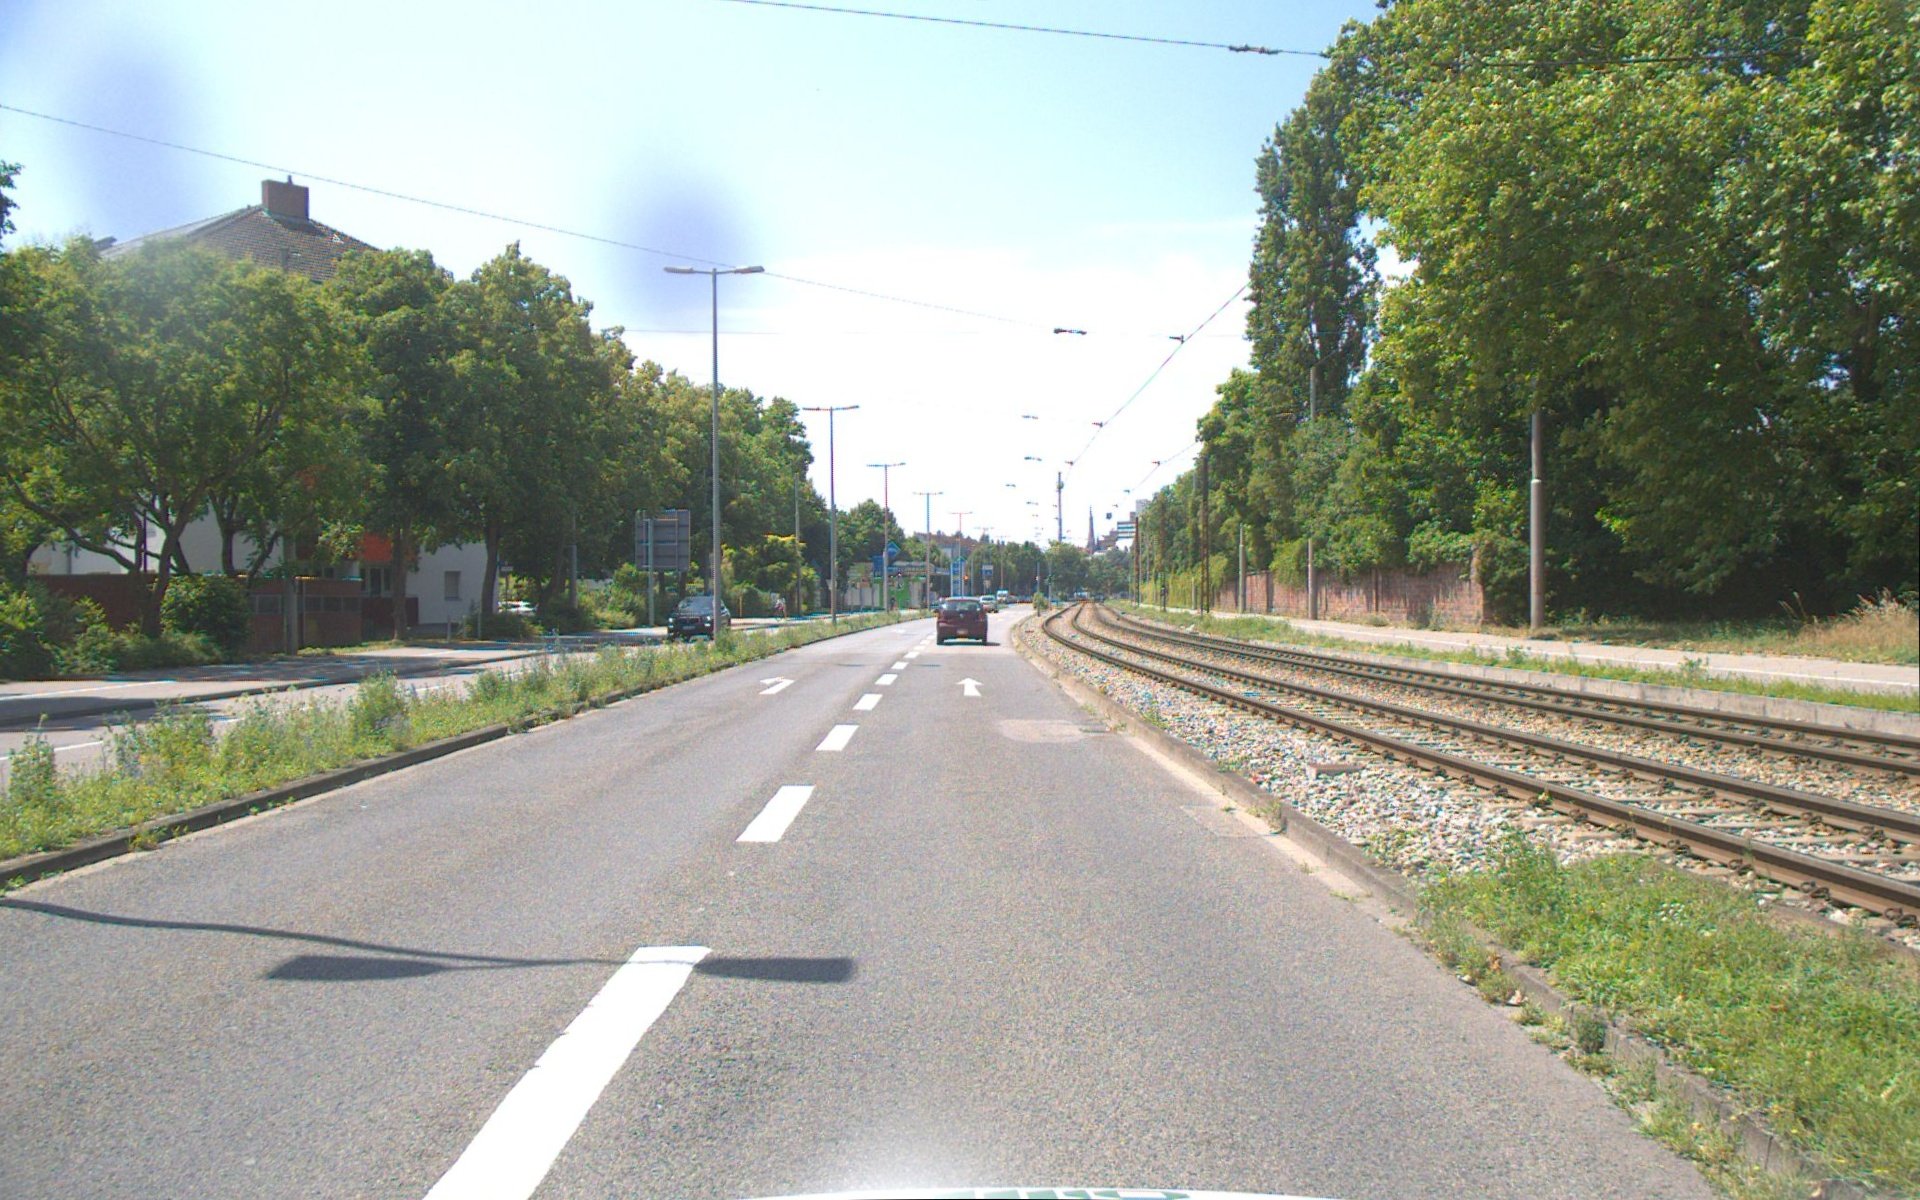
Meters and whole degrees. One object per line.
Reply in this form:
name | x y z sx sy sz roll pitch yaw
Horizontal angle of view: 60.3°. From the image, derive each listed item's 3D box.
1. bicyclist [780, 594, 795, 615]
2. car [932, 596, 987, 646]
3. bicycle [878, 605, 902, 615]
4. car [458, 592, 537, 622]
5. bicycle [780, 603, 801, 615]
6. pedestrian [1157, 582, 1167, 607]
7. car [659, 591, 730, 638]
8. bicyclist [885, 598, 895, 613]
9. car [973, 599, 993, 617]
bicyclist | -11.928 0.317 114.445 0.954 1.427 0.485 -1 0 -37
car | 0.016 0.673 52.448 1.668 1.503 3.716 0 -1 1
bicycle | -7.724 1.114 182.996 2.503 1.056 1.085 1 -1 -10
car | -29.704 0.454 106.390 4.576 1.789 1.998 -1 0 -6
bicycle | -11.755 0.637 114.583 1.417 0.787 0.491 -2 0 -38
pedestrian | 14.460 -0.395 118.394 0.648 1.756 0.817 -1 0 3
car | -10.159 0.545 63.629 1.883 1.654 4.756 -2 0 0
bicyclist | -7.769 0.635 183.022 0.927 1.621 1.085 1 -1 -9
car | 2.015 0.704 146.468 1.668 1.506 3.715 1 0 -1
